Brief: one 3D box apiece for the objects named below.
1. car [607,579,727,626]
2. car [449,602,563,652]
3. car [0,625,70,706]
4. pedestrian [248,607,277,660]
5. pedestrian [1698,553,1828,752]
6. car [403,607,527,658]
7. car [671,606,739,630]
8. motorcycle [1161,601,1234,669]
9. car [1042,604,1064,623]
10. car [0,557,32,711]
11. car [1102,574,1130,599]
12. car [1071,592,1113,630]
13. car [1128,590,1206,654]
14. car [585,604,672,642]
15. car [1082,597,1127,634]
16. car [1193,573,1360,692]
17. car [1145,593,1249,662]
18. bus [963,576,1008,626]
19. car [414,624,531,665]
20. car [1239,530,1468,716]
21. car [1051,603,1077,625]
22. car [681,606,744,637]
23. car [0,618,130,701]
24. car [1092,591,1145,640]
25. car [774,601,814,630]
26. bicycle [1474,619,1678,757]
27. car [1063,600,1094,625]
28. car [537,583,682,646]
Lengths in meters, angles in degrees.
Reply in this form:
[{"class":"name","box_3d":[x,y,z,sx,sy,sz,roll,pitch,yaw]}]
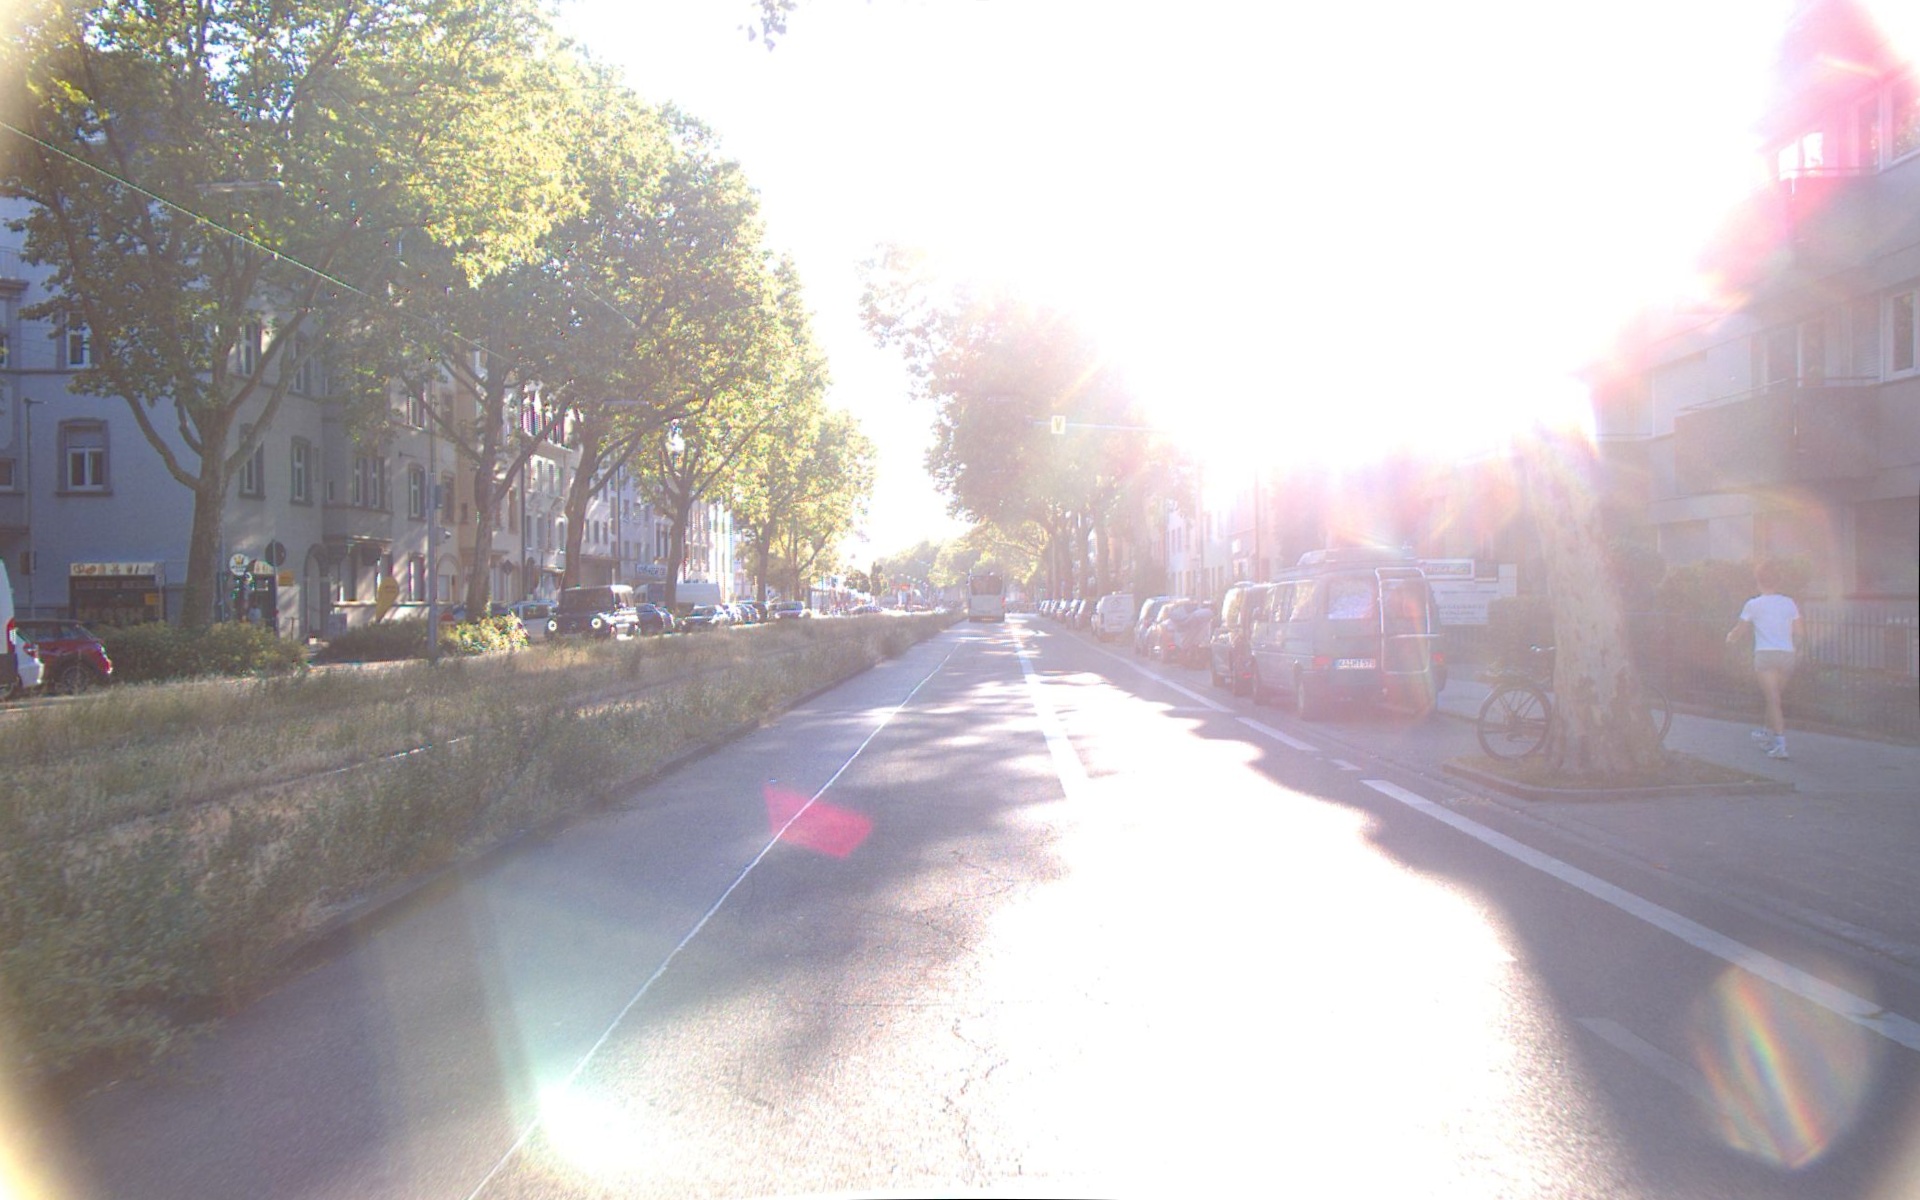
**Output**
[{"class":"car","box_3d":[-17.575,0.166,99.337,6.835,2.725,2.173,-1,-1,-20]},{"class":"car","box_3d":[-18.051,1.082,65.873,3.957,1.915,1.974,0,-1,-37]},{"class":"car","box_3d":[-18.234,1.201,29.721,3.677,1.424,1.710,-1,0,-42]},{"class":"pedestrian","box_3d":[-23.621,1.128,55.995,0.614,1.790,0.673,-1,0,6]},{"class":"pedestrian","box_3d":[6.949,0.448,14.347,0.649,1.657,0.923,-1,-1,1]},{"class":"car","box_3d":[-17.878,1.161,59.792,3.959,1.754,1.760,0,-1,-38]},{"class":"car","box_3d":[-16.759,1.183,108.841,4.214,1.484,1.857,-1,-1,-5]},{"class":"motorcycle","box_3d":[5.290,0.755,37.034,0.809,1.422,2.373,-3,0,-11]},{"class":"car","box_3d":[8.199,1.175,145.988,1.744,1.542,4.000,-1,0,1]},{"class":"car","box_3d":[-18.377,0.603,26.862,5.460,2.573,2.094,-1,0,-42]},{"class":"car","box_3d":[12.319,-1.056,130.958,1.844,1.892,4.326,-1,-1,1]},{"class":"car","box_3d":[6.587,0.583,82.894,1.708,1.801,4.988,-1,-1,0]},{"class":"car","box_3d":[5.803,0.625,46.779,1.708,1.720,3.851,-1,-1,0]},{"class":"car","box_3d":[-16.743,1.165,83.560,3.947,1.728,1.837,-3,0,-31]},{"class":"car","box_3d":[6.120,0.646,70.367,1.611,1.512,4.000,-1,0,0]},{"class":"car","box_3d":[5.376,0.548,28.704,1.953,1.862,4.757,-1,-1,0]},{"class":"car","box_3d":[5.744,0.662,40.549,1.953,1.587,3.979,-1,-1,0]},{"class":"bus","box_3d":[1.685,0.135,113.417,2.776,3.292,8.179,-1,-1,-1]},{"class":"car","box_3d":[-18.357,1.658,62.320,3.959,1.474,1.564,0,-1,-38]},{"class":"car","box_3d":[5.367,0.325,23.327,1.953,2.297,5.234,-1,-1,0]},{"class":"car","box_3d":[7.740,1.045,123.604,1.744,1.542,4.000,-1,0,1]},{"class":"car","box_3d":[-12.496,1.095,83.932,1.708,1.485,4.929,-1,-1,9]},{"class":"car","box_3d":[-18.448,1.185,32.553,3.661,1.492,1.718,-2,1,-31]},{"class":"car","box_3d":[6.060,0.601,63.720,1.708,1.801,4.395,-1,-1,2]},{"class":"car","box_3d":[-9.489,0.891,94.722,1.753,1.601,4.001,-1,0,1]},{"class":"bicycle","box_3d":[5.440,0.760,14.599,1.814,1.163,0.347,-1,-1,-16]},{"class":"car","box_3d":[7.533,0.798,105.836,1.744,1.542,4.000,-1,0,1]},{"class":"car","box_3d":[-10.164,0.428,48.344,1.831,1.723,4.776,-1,-1,22]}]
